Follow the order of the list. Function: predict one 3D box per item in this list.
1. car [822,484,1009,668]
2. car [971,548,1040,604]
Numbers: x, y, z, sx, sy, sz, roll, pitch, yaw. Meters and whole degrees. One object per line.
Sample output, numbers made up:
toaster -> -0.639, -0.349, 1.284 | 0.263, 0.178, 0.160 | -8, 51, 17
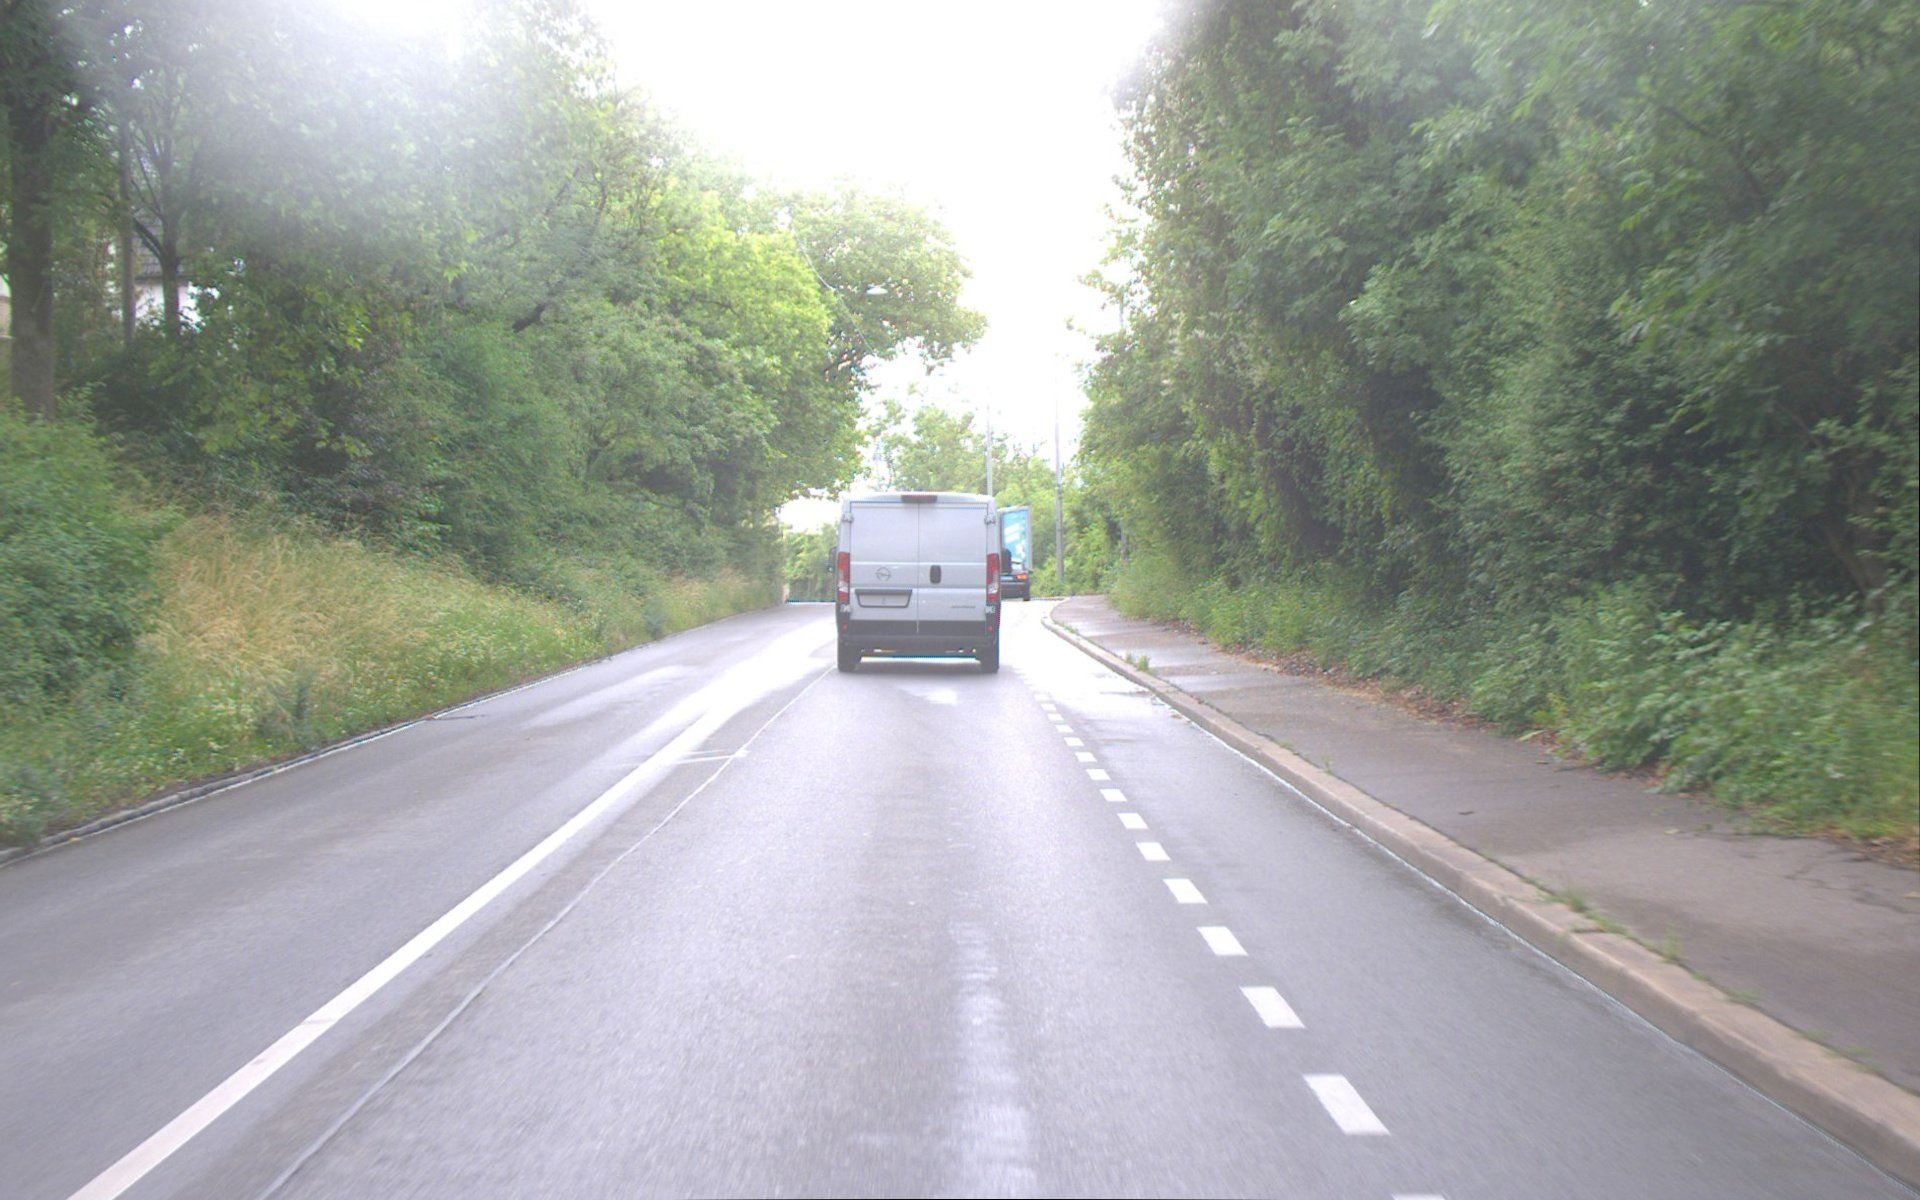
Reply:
car -> -0.561, -0.314, 44.099 | 2.237, 2.205, 4.713 | 1, 1, -1
car -> 1.504, -0.799, 114.056 | 2.237, 1.798, 4.713 | 1, 1, 1
